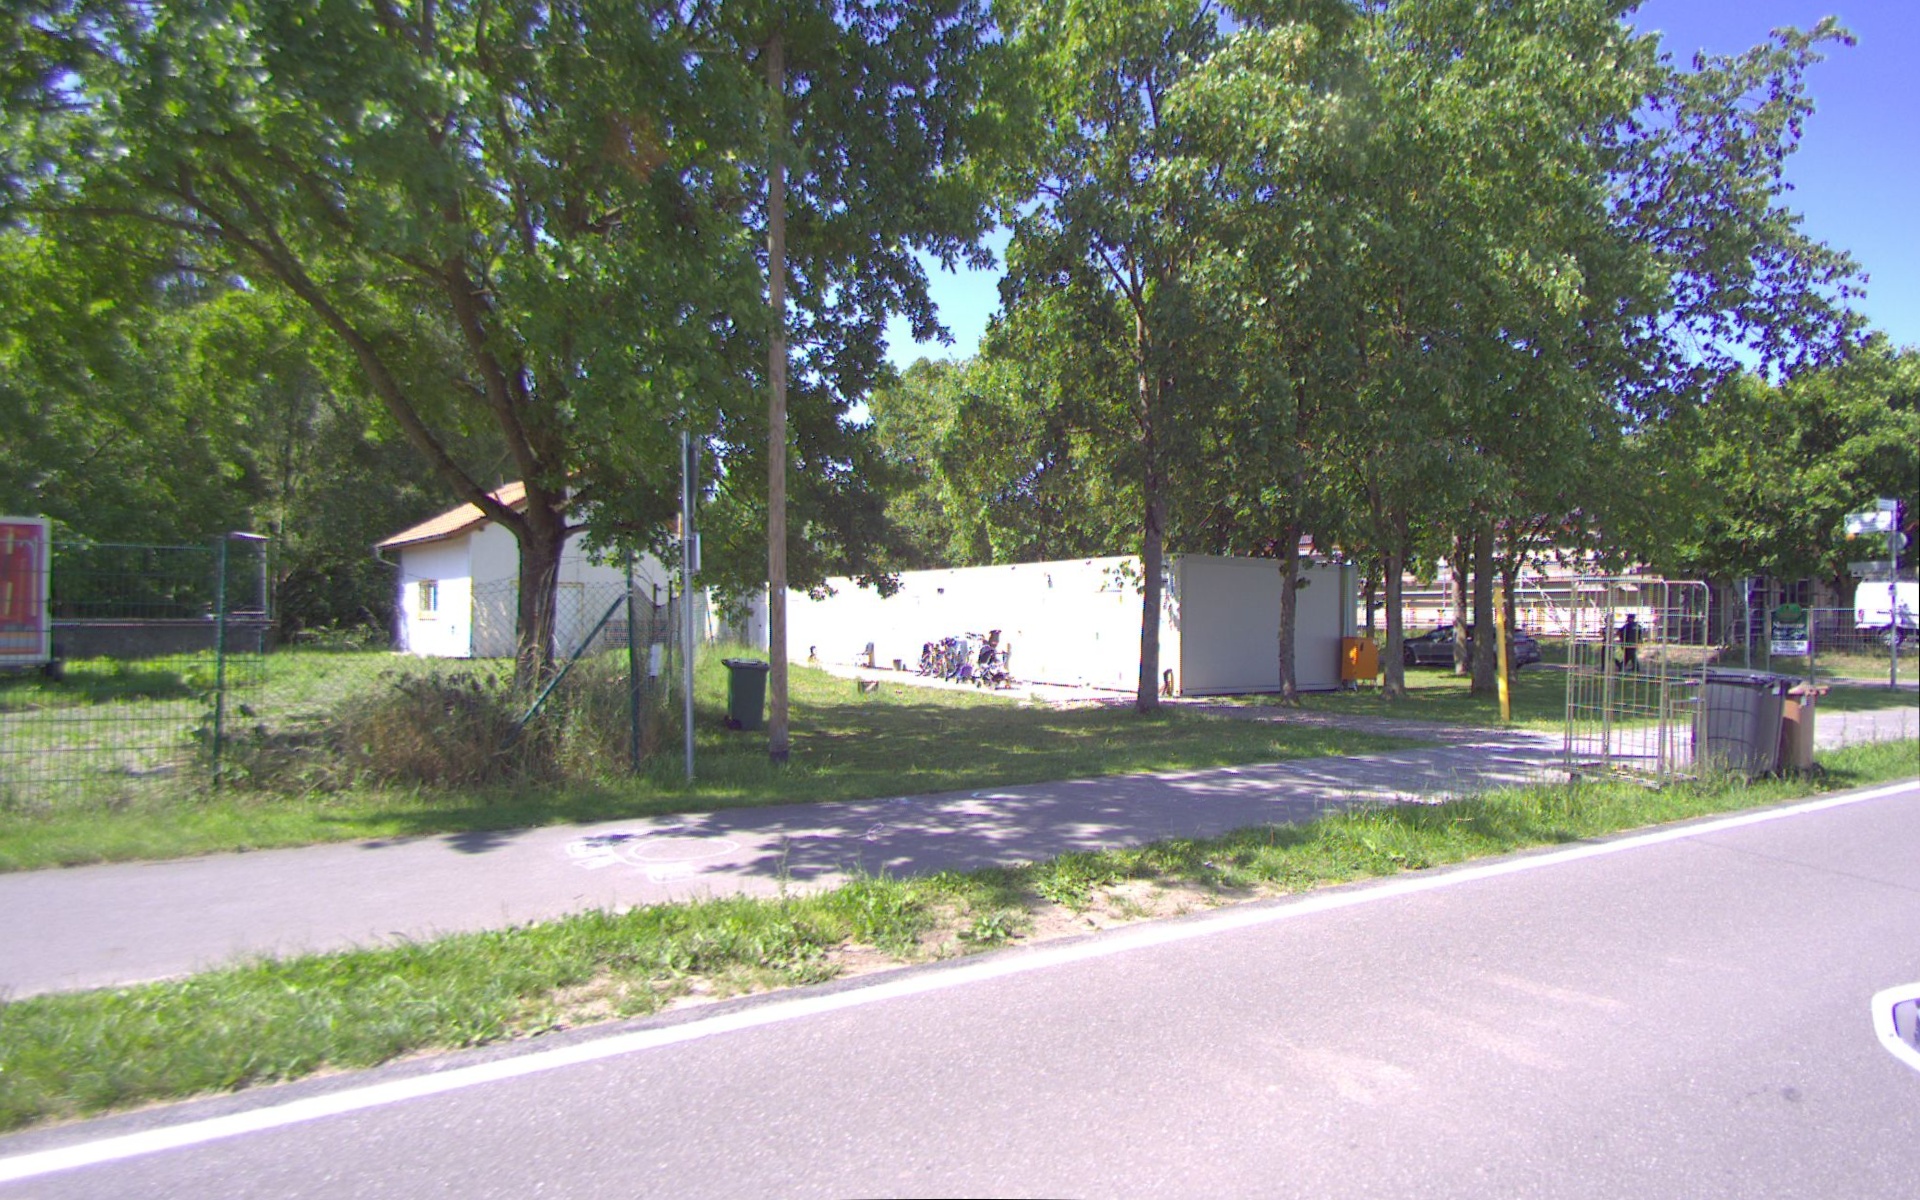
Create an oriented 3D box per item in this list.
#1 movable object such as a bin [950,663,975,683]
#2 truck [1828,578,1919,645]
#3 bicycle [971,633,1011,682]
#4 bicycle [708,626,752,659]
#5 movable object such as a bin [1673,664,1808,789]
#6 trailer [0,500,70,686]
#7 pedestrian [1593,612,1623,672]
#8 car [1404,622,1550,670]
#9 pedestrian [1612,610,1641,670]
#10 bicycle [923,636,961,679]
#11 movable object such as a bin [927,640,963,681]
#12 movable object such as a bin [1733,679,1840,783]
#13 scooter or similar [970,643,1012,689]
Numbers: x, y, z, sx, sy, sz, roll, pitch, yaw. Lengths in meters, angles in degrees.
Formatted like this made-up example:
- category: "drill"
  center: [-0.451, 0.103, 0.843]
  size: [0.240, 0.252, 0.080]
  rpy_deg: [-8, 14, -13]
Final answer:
- category: "movable object such as a bin"
  center: [0.053, 1.806, 24.825]
  size: [0.294, 0.468, 0.664]
  rpy_deg: [1, -1, -34]
- category: "truck"
  center: [37.341, 0.459, 38.481]
  size: [5.818, 2.516, 1.999]
  rpy_deg: [1, -1, 24]
- category: "bicycle"
  center: [0.794, 1.465, 25.928]
  size: [0.419, 1.229, 1.233]
  rpy_deg: [1, -1, -32]
- category: "bicycle"
  center: [-9.727, 1.759, 42.386]
  size: [0.722, 1.327, 3.335]
  rpy_deg: [1, -2, -33]
- category: "movable object such as a bin"
  center: [7.040, 1.111, 9.078]
  size: [0.737, 1.038, 0.697]
  rpy_deg: [1, -1, -22]
- category: "trailer"
  center: [-13.606, -0.062, 13.791]
  size: [1.817, 2.307, 4.181]
  rpy_deg: [1, -2, -45]
- category: "pedestrian"
  center: [19.392, 1.240, 30.069]
  size: [0.582, 1.774, 0.598]
  rpy_deg: [1, -1, -39]
- category: "car"
  center: [16.361, 1.418, 31.946]
  size: [1.743, 1.417, 3.772]
  rpy_deg: [1, -2, -37]
- category: "pedestrian"
  center: [20.083, 1.196, 30.268]
  size: [0.582, 1.774, 0.598]
  rpy_deg: [1, -1, -39]
- category: "bicycle"
  center: [-0.495, 1.539, 27.173]
  size: [0.500, 1.096, 1.234]
  rpy_deg: [1, -1, -31]
- category: "movable object such as a bin"
  center: [-0.387, 1.540, 25.798]
  size: [0.657, 1.027, 0.690]
  rpy_deg: [1, -1, -34]
- category: "movable object such as a bin"
  center: [7.721, 1.204, 9.393]
  size: [0.605, 0.888, 0.561]
  rpy_deg: [1, -1, -22]
- category: "scooter or similar"
  center: [0.712, 1.496, 22.985]
  size: [0.529, 1.010, 0.888]
  rpy_deg: [1, -1, -35]
